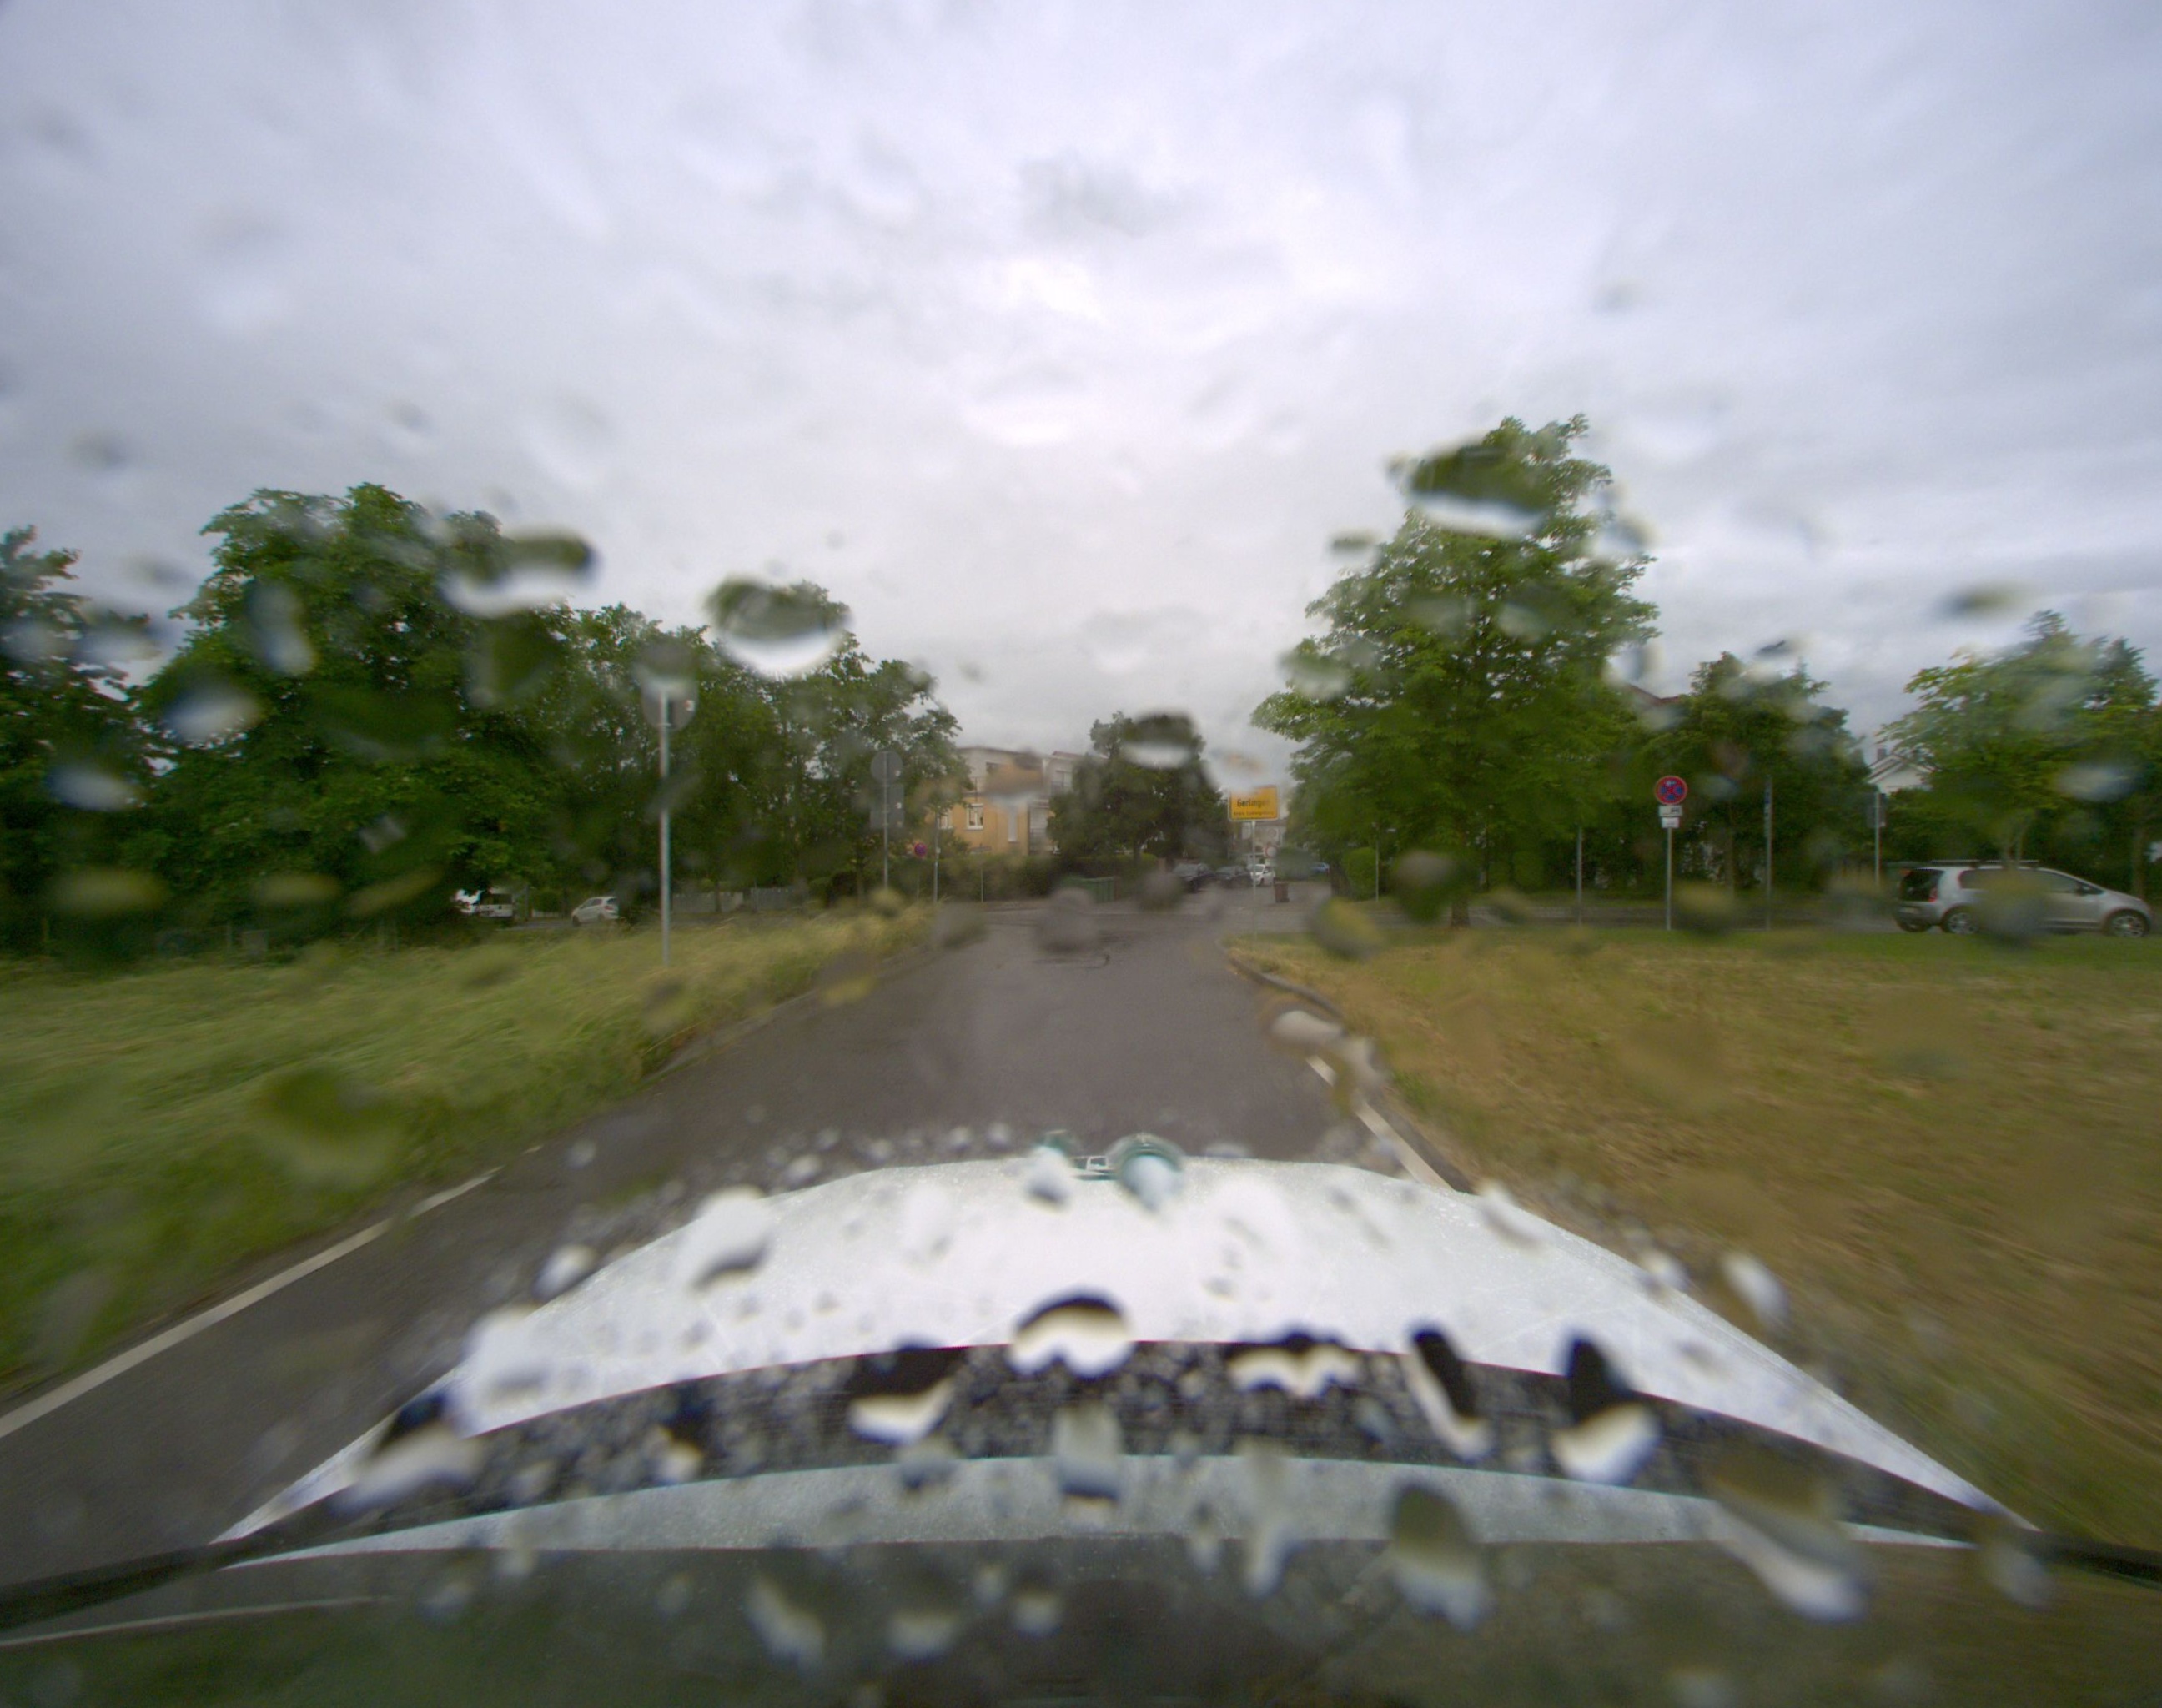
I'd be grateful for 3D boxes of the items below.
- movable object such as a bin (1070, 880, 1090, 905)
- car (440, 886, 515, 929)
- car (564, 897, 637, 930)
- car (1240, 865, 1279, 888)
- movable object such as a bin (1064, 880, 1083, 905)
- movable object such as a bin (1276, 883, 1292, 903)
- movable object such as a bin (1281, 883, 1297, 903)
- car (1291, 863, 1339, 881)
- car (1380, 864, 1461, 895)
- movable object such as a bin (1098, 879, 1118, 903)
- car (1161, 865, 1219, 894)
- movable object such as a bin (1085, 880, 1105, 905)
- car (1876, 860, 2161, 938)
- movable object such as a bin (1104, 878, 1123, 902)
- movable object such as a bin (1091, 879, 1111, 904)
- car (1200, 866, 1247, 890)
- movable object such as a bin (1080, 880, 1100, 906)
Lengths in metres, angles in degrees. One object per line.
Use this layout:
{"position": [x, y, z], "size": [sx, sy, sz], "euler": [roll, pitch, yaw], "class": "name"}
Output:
{"position": [-0.053, 1.674, 35.872], "size": [0.688, 1.072, 0.601], "euler": [-1, -1, 22], "class": "movable object such as a bin"}
{"position": [-37.235, 3.330, 50.202], "size": [5.438, 2.468, 2.138], "euler": [-4, -3, 35], "class": "car"}
{"position": [-24.628, 3.044, 41.728], "size": [3.678, 1.503, 1.621], "euler": [-4, -3, 31], "class": "car"}
{"position": [12.170, 1.533, 55.523], "size": [1.496, 1.476, 3.294], "euler": [1, 0, 33], "class": "car"}
{"position": [-0.321, 1.676, 35.304], "size": [0.659, 1.073, 0.547], "euler": [-1, -1, 23], "class": "movable object such as a bin"}
{"position": [9.550, 1.829, 38.323], "size": [0.565, 0.931, 0.533], "euler": [-1, -1, 36], "class": "movable object such as a bin"}
{"position": [9.891, 1.836, 38.785], "size": [0.565, 0.931, 0.533], "euler": [-1, -1, 36], "class": "movable object such as a bin"}
{"position": [21.741, 1.678, 75.574], "size": [3.950, 1.568, 1.920], "euler": [0, -1, 27], "class": "car"}
{"position": [19.642, 1.494, 47.187], "size": [3.948, 1.664, 1.791], "euler": [-3, -2, 38], "class": "car"}
{"position": [1.210, 1.661, 36.765], "size": [0.688, 1.055, 0.608], "euler": [-1, -1, 22], "class": "movable object such as a bin"}
{"position": [6.240, 1.384, 46.121], "size": [1.758, 1.518, 4.163], "euler": [1, 0, 30], "class": "car"}
{"position": [0.629, 1.668, 35.636], "size": [0.688, 1.075, 0.546], "euler": [-1, -1, 22], "class": "movable object such as a bin"}
{"position": [19.144, 0.908, 16.798], "size": [3.513, 1.479, 1.688], "euler": [-1, -2, 20], "class": "car"}
{"position": [1.493, 1.659, 37.482], "size": [0.688, 1.055, 0.608], "euler": [-1, -1, 22], "class": "movable object such as a bin"}
{"position": [0.894, 1.664, 36.210], "size": [0.688, 1.067, 0.582], "euler": [-1, -1, 22], "class": "movable object such as a bin"}
{"position": [8.996, 1.502, 51.336], "size": [1.619, 1.409, 3.627], "euler": [1, 0, 32], "class": "car"}
{"position": [0.391, 1.672, 35.060], "size": [0.688, 1.075, 0.605], "euler": [-1, -1, 22], "class": "movable object such as a bin"}
